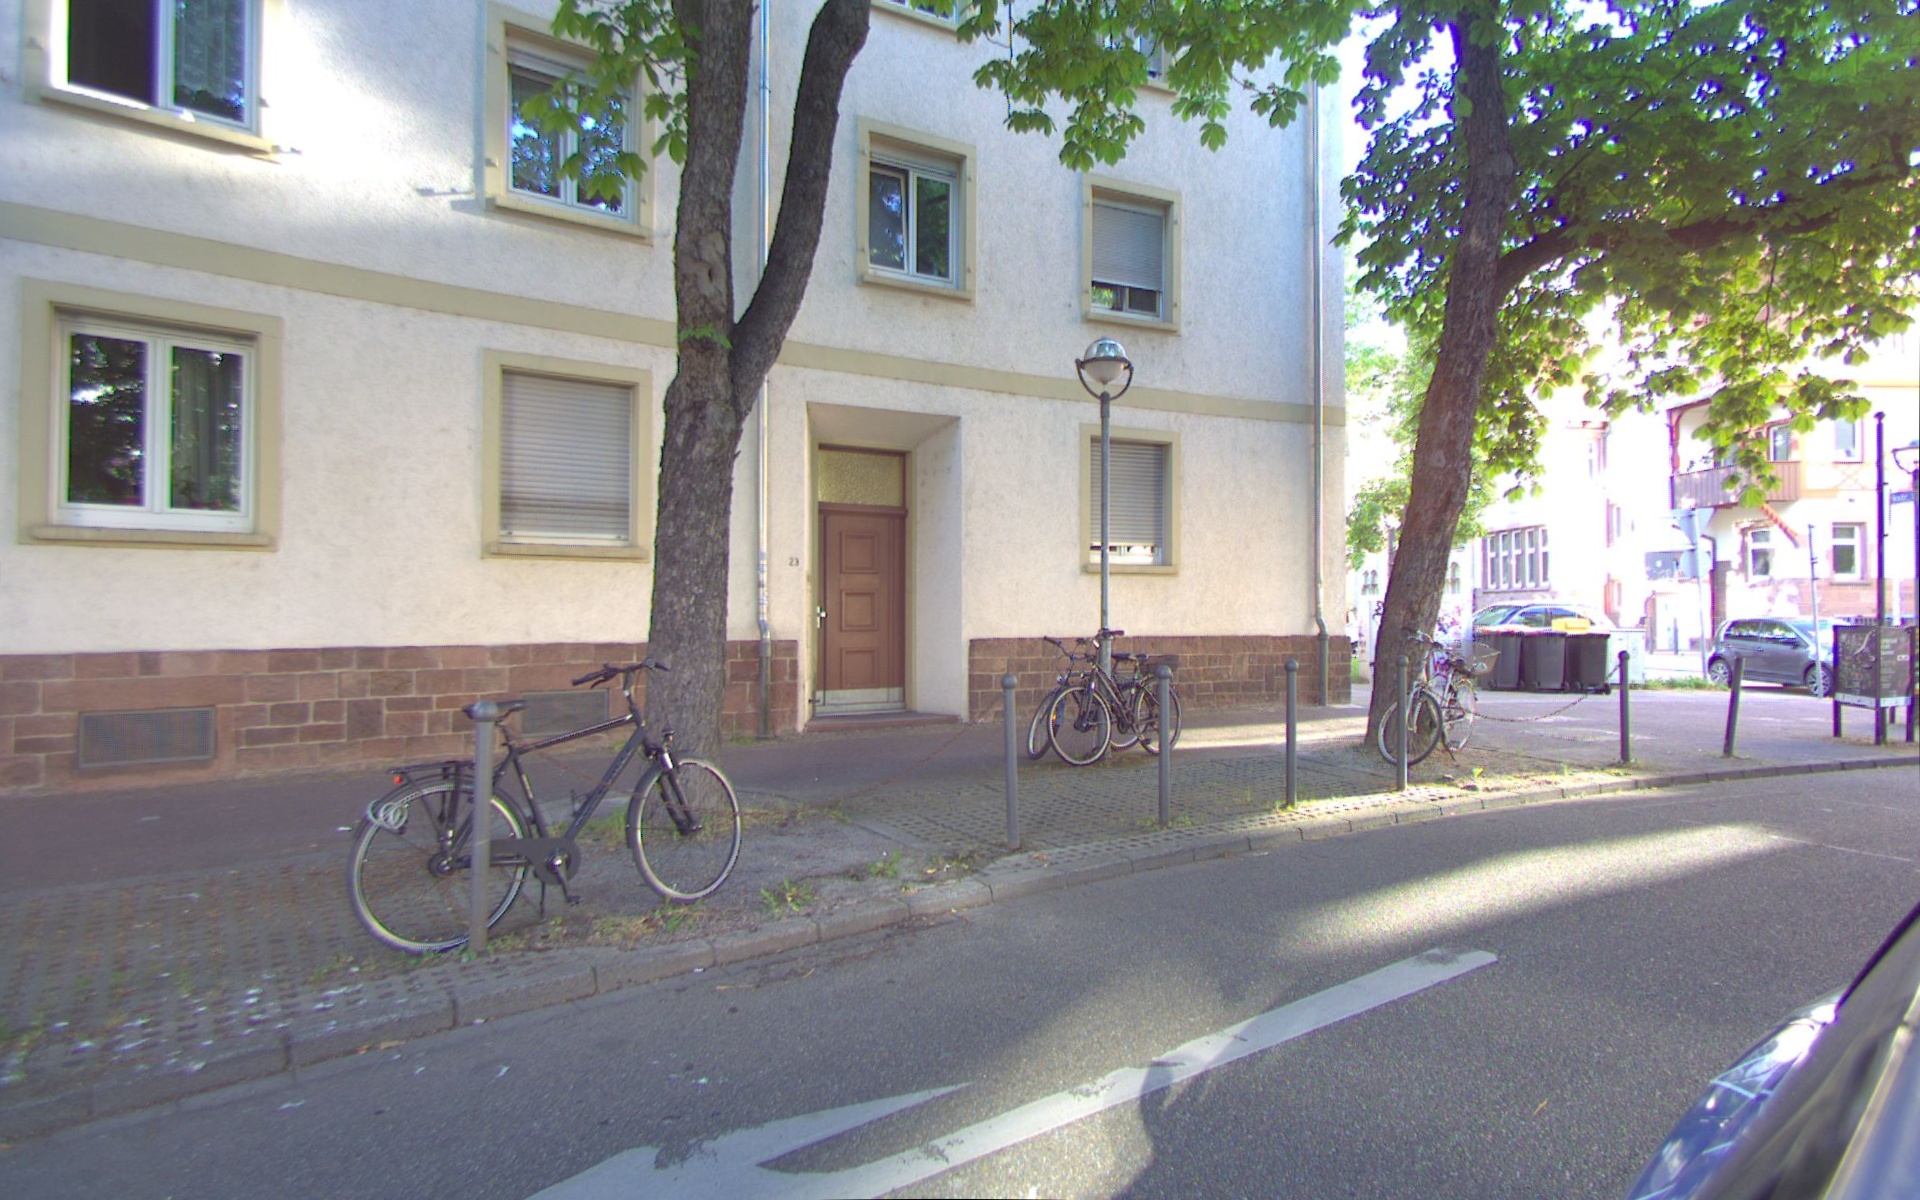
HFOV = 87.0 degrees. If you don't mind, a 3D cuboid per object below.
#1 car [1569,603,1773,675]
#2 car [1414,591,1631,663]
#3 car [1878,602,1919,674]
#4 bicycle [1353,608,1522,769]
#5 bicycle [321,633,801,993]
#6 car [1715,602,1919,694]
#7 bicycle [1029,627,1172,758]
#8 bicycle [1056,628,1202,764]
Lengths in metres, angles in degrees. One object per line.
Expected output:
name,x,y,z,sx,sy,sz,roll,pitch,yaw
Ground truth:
car,16.836,0.881,24.252,1.771,1.572,4.187,0,-1,-3
car,12.000,0.557,21.708,3.728,1.443,1.677,0,-1,-5
car,21.589,0.831,21.312,1.463,1.559,3.217,1,0,-3
bicycle,4.411,0.742,9.288,1.871,1.321,0.766,0,-1,-43
bicycle,-1.700,0.792,4.549,1.882,1.238,0.718,0,-1,-43
car,16.818,0.840,19.317,1.664,1.572,4.052,0,-1,-2
bicycle,1.335,0.819,9.425,1.607,1.108,0.334,0,-1,-41
bicycle,1.546,0.821,9.096,1.607,1.108,0.334,0,-1,-41
